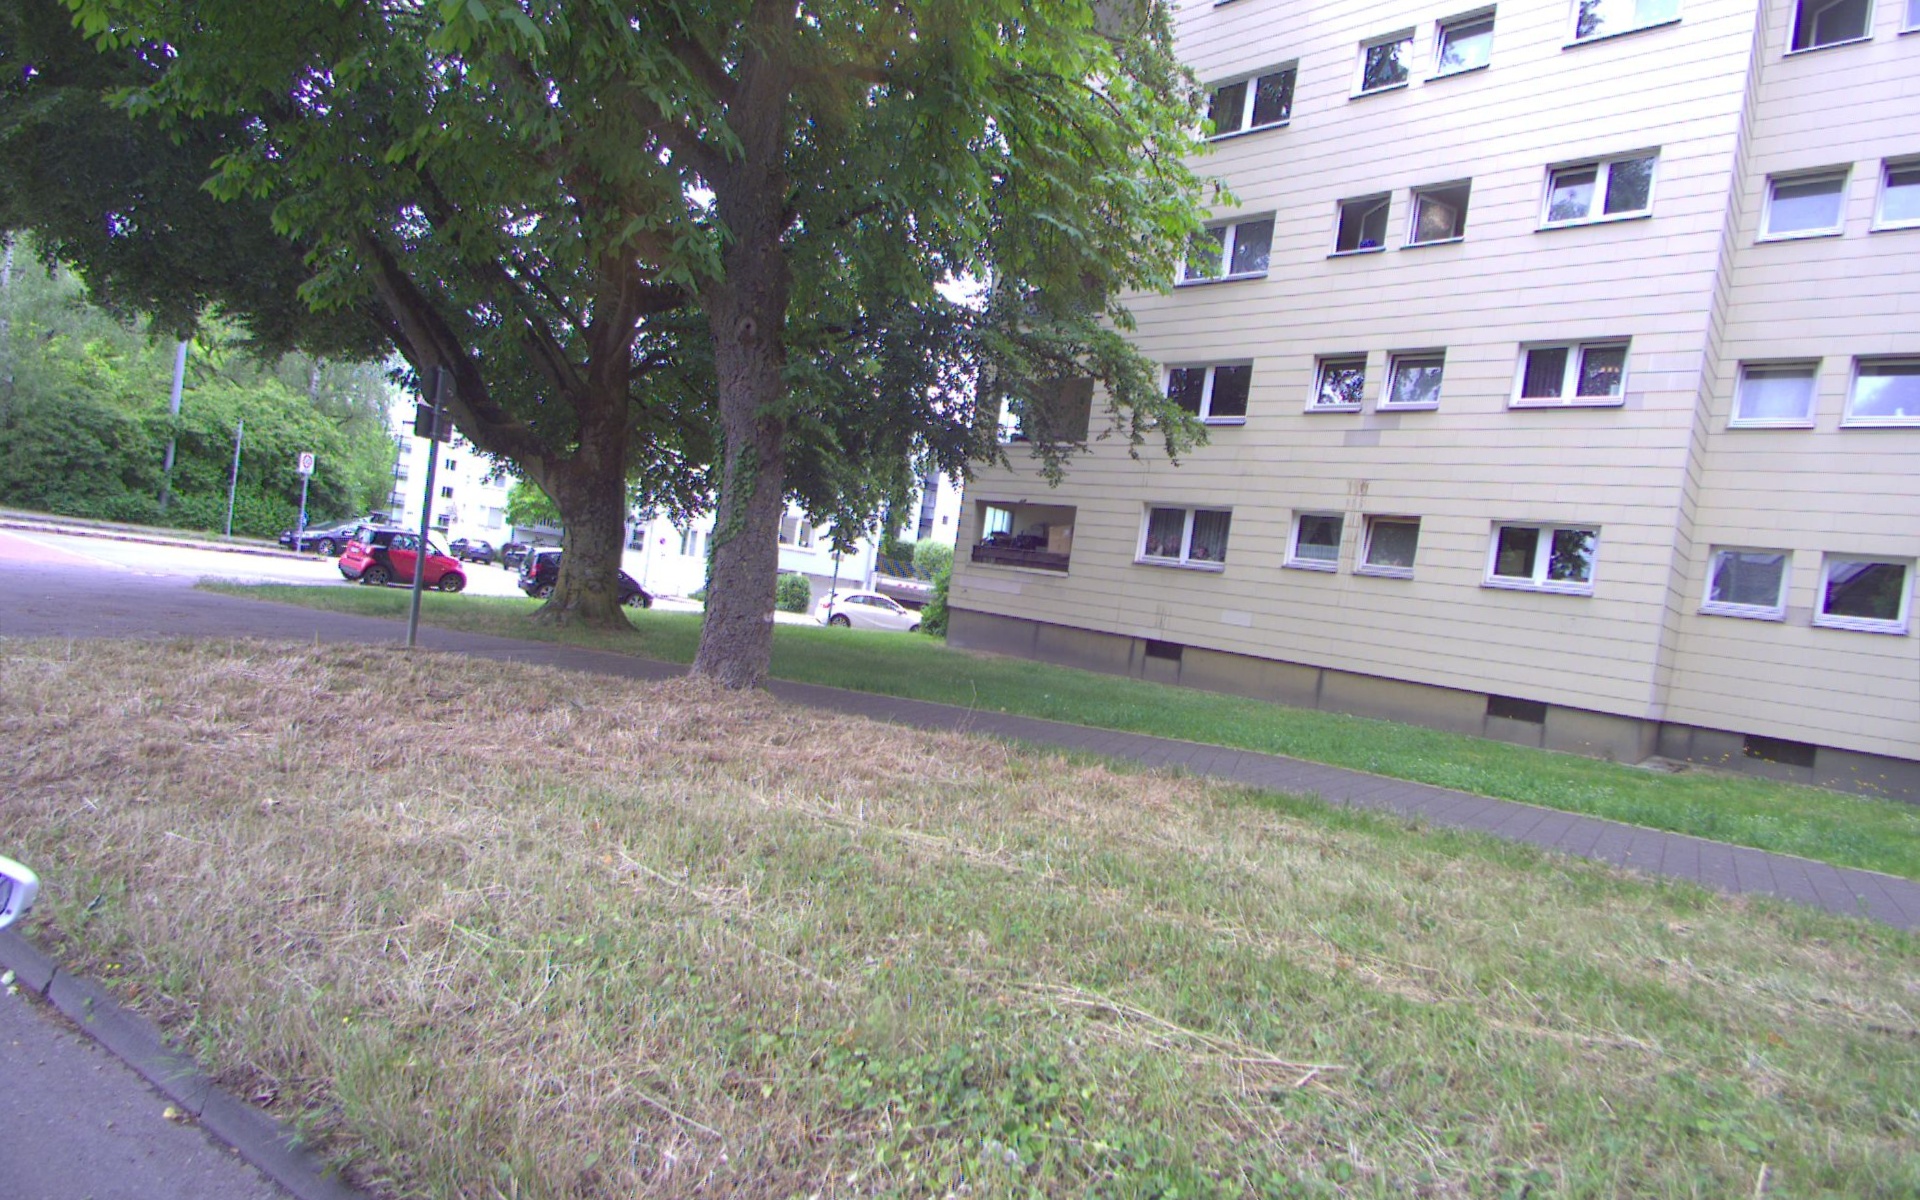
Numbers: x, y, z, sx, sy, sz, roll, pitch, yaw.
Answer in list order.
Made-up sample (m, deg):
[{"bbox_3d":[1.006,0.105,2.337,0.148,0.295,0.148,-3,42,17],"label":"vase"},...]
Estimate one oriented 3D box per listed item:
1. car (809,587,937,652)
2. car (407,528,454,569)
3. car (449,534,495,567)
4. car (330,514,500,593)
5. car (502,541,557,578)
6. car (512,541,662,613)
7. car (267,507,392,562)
[{"bbox_3d":[-2.891,0.631,33.306,3.796,1.631,1.721,7,1,-18],"label":"car"},{"bbox_3d":[-24.882,-2.446,47.180,1.709,1.631,3.823,6,1,-30],"label":"car"},{"bbox_3d":[-30.117,-3.078,62.021,1.713,1.631,3.813,6,1,-38],"label":"car"},{"bbox_3d":[-14.533,-1.209,26.944,1.702,1.631,3.516,8,1,37],"label":"car"},{"bbox_3d":[-23.192,-2.202,54.068,1.713,1.631,3.813,6,1,-38],"label":"car"},{"bbox_3d":[-11.063,-0.676,29.918,3.814,1.631,1.713,7,1,-33],"label":"car"},{"bbox_3d":[-23.407,-2.408,37.428,1.702,1.549,3.515,8,1,38],"label":"car"}]
